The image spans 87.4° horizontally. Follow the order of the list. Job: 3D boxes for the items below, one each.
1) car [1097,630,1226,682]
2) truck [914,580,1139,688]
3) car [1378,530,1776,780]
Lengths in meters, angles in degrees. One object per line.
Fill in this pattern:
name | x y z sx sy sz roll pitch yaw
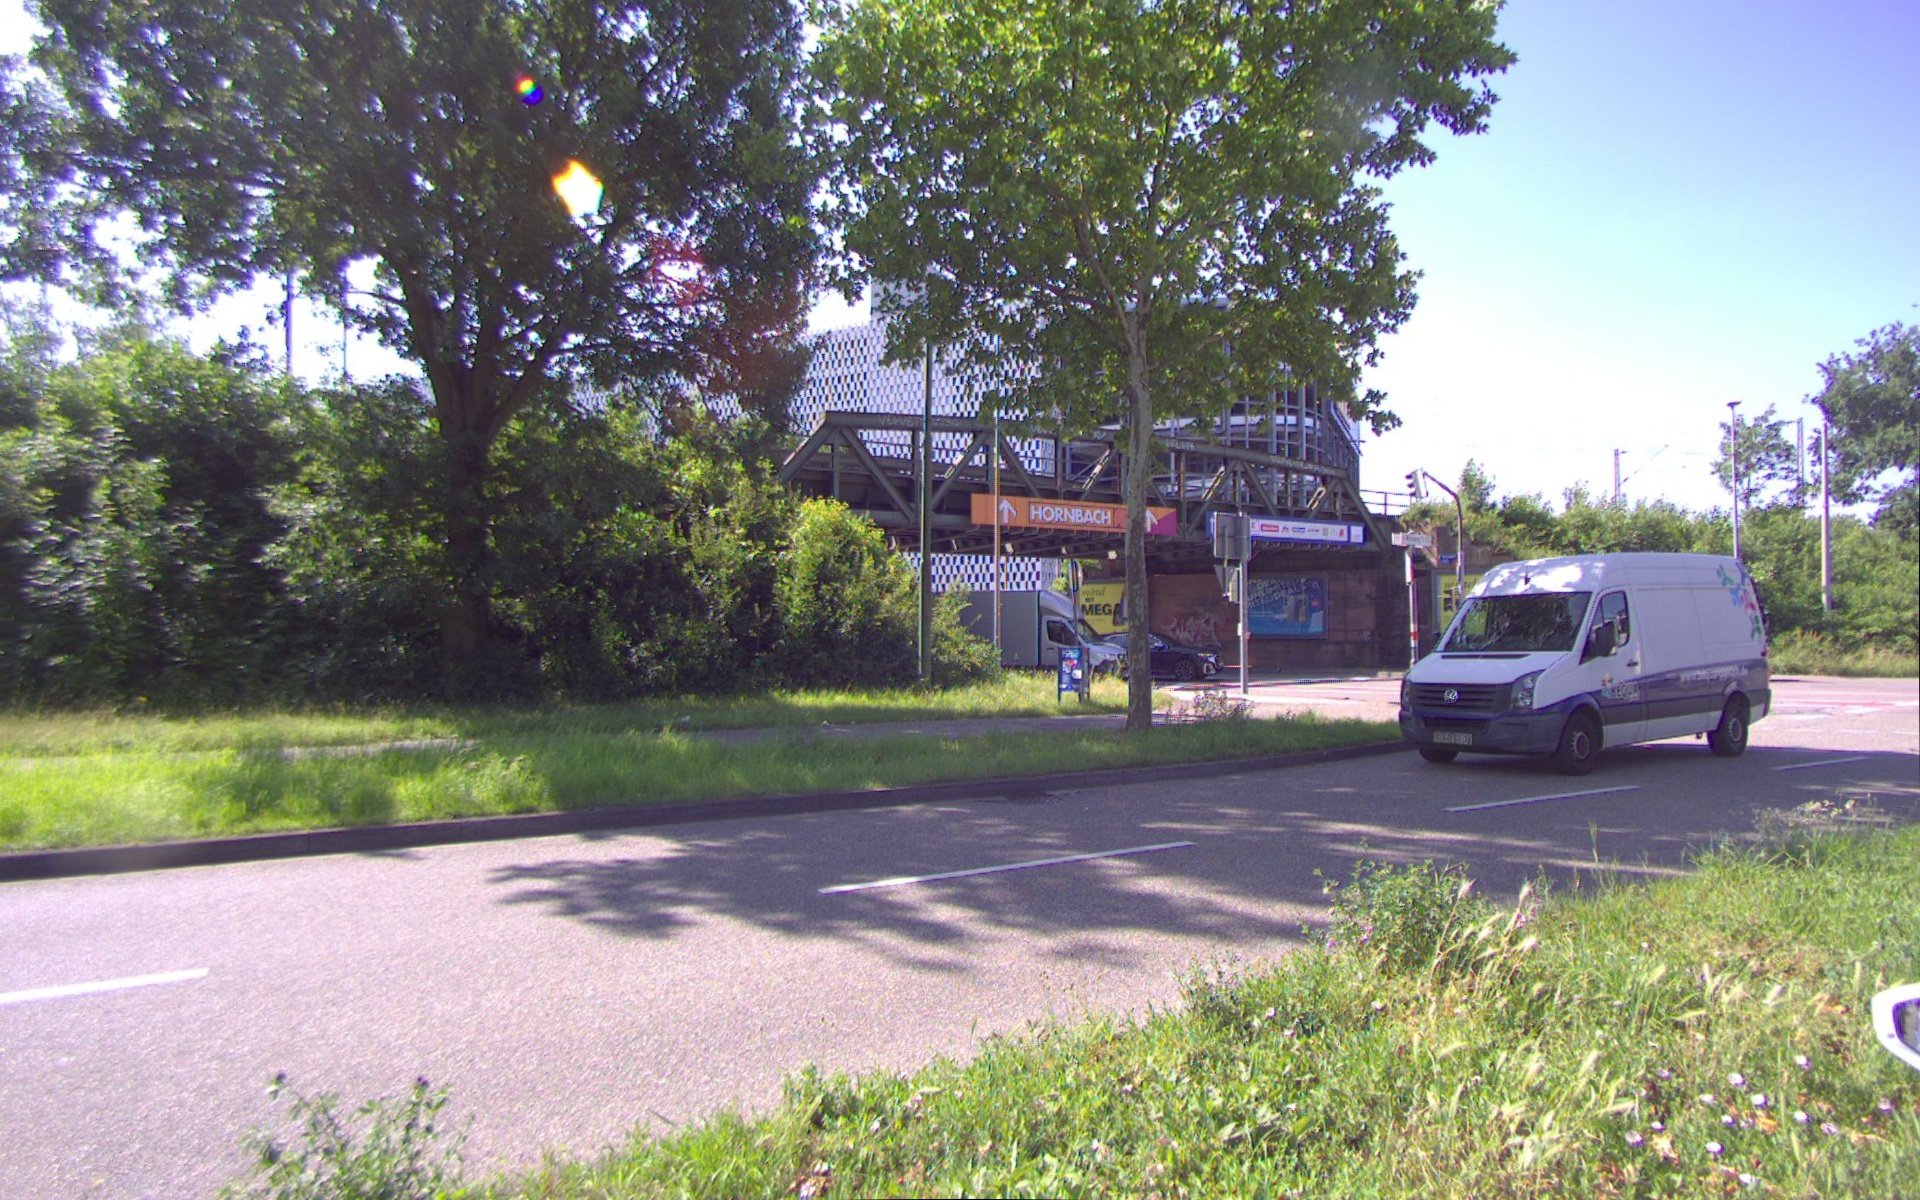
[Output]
car | 6.858 1.886 34.206 3.926 1.668 1.902 -2 -2 27
truck | 2.039 1.115 31.736 6.739 3.146 2.216 -2 -2 27
car | 8.195 0.690 13.166 5.719 2.697 1.984 1 -3 -30
